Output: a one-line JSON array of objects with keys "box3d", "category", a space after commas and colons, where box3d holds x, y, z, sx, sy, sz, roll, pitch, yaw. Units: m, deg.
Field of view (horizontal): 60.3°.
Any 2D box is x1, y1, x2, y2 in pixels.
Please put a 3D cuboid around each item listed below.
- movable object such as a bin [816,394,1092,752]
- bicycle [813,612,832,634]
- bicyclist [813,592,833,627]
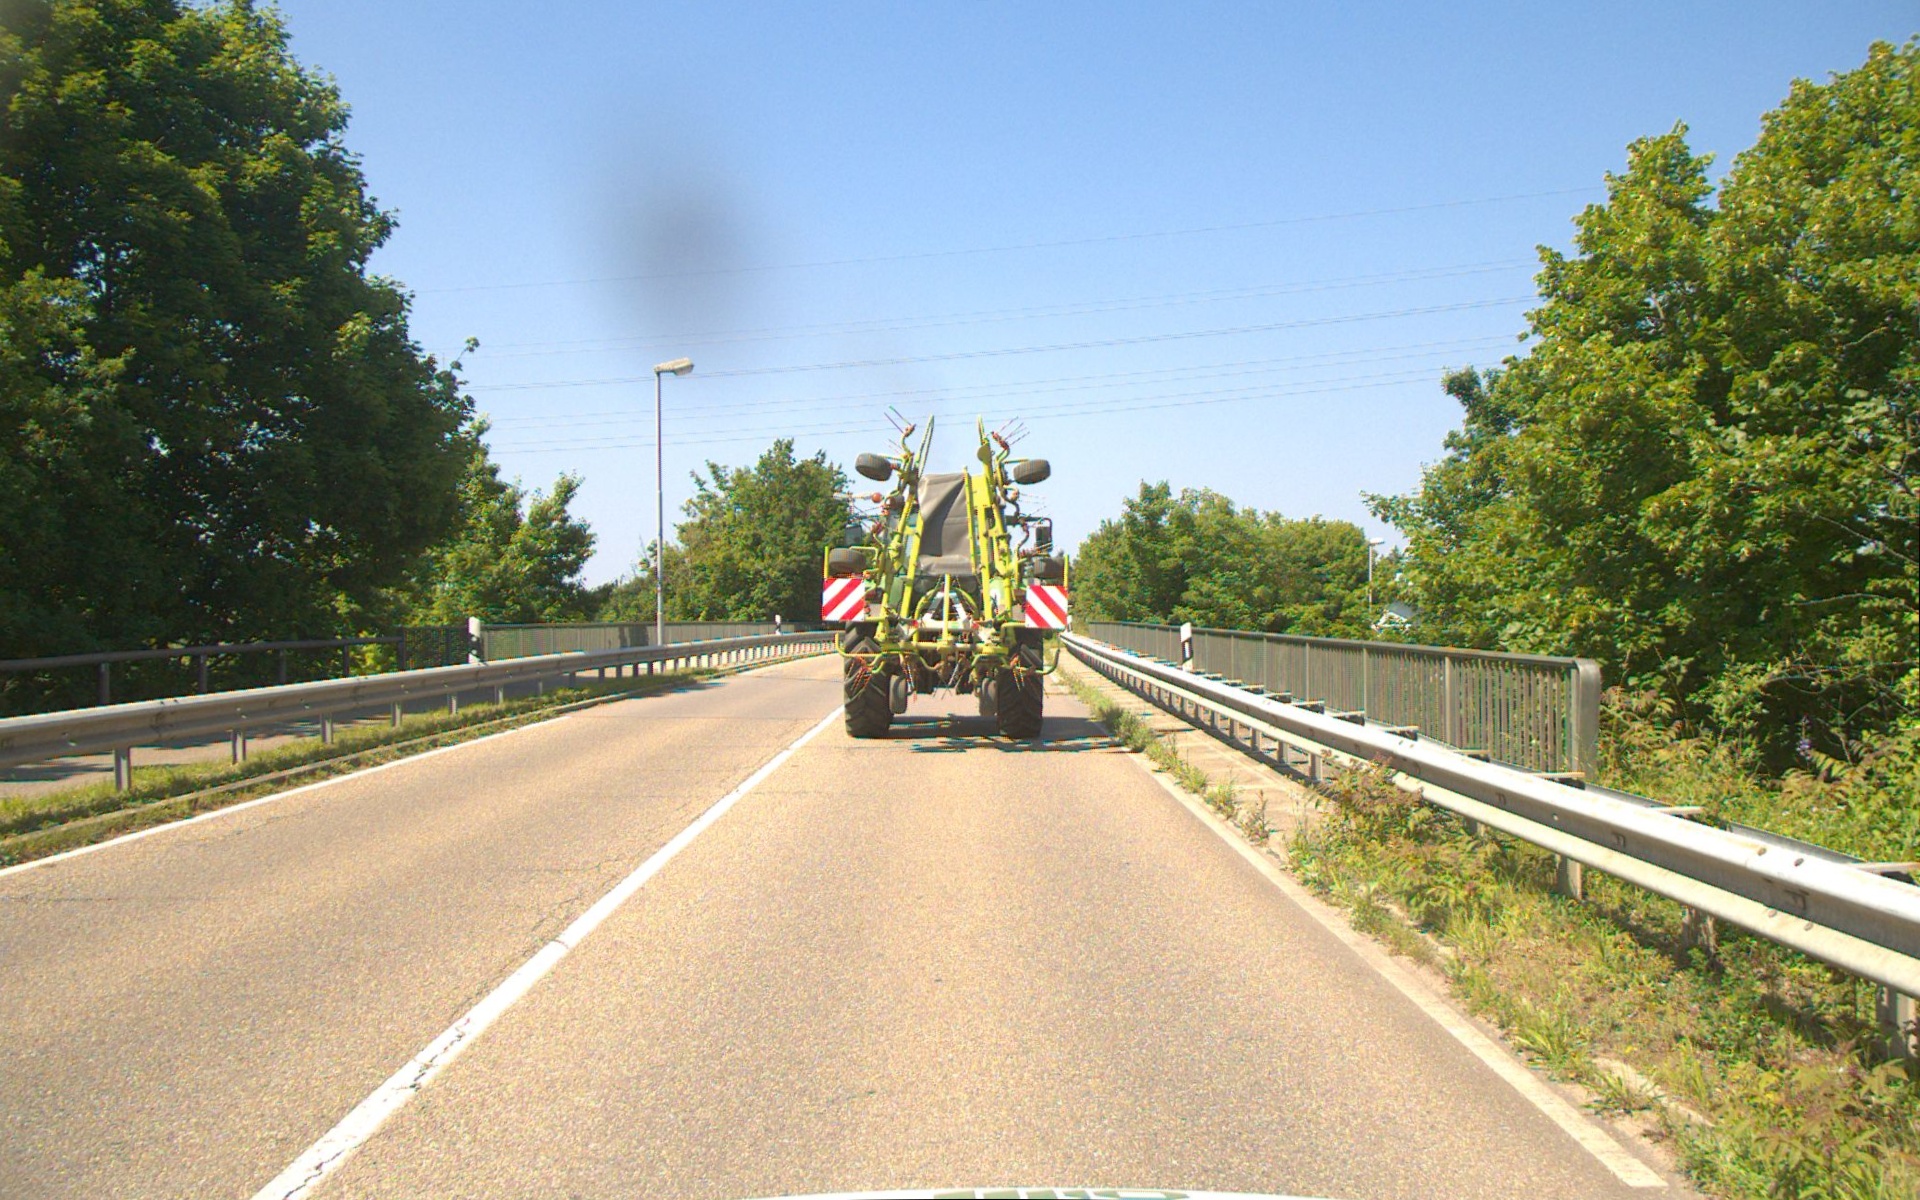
[{"box3d": [-0.114, -0.259, 19.069, 2.699, 3.504, 5.668, 0, 0, -1], "category": "movable object such as a bin"}, {"box3d": [-7.004, 1.180, 84.475, 0.664, 1.018, 2.118, 7, 0, 0], "category": "bicycle"}, {"box3d": [-7.000, 0.485, 84.538, 0.750, 1.661, 0.895, 6, -1, 1], "category": "bicyclist"}]
